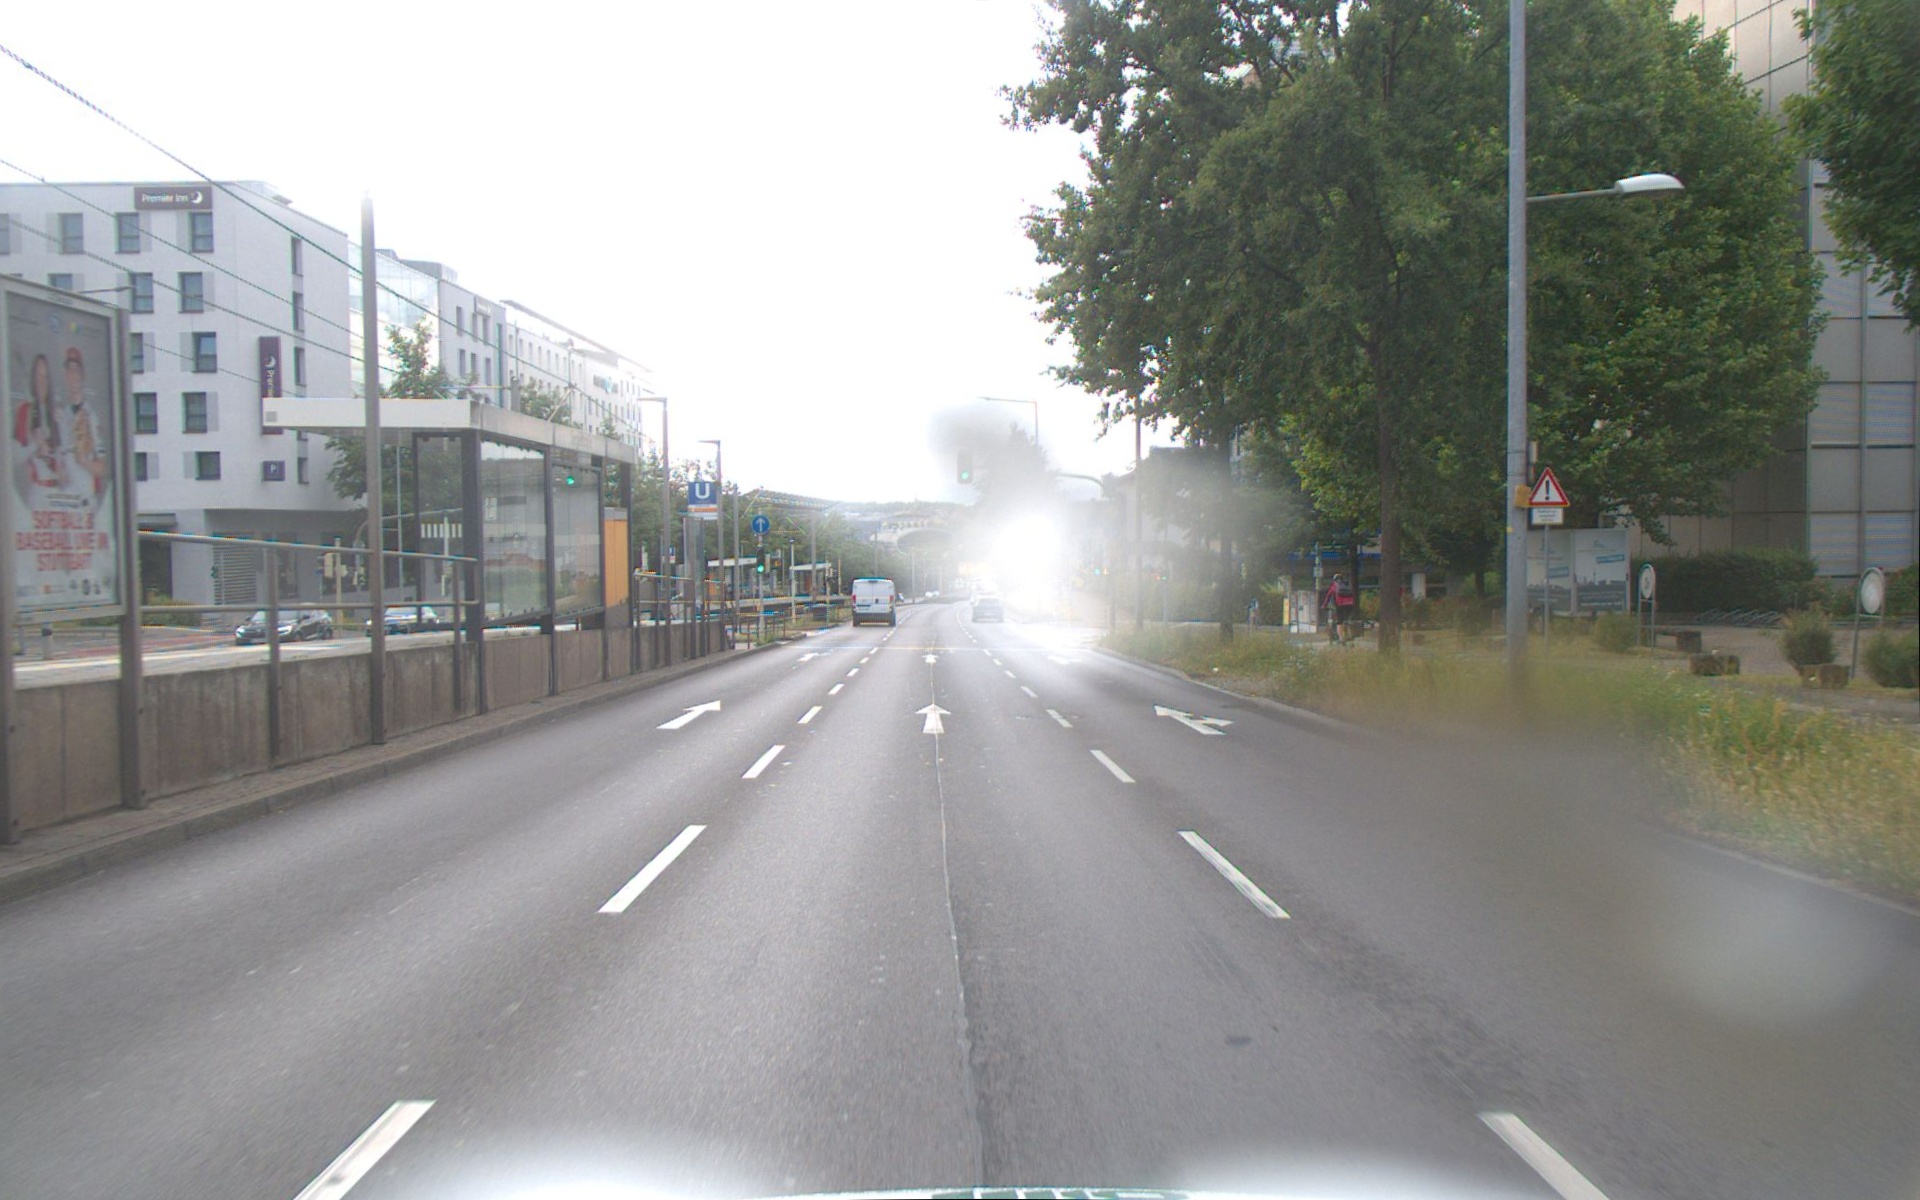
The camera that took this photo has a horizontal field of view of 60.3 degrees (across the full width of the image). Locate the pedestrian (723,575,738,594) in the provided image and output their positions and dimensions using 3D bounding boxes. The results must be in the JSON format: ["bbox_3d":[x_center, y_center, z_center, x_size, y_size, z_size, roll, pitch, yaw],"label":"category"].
[{"bbox_3d":[-16.112,-1.119,116.187,0.941,1.322,0.684,-1,0,0],"label":"pedestrian"}]

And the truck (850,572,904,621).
[{"bbox_3d":[-4.041,-0.167,81.669,2.312,2.301,5.305,1,0,0],"label":"truck"}]

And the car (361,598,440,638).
[{"bbox_3d":[-22.163,0.703,65.683,1.816,1.452,4.386,-2,0,-3],"label":"car"}]

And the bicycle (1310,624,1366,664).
[{"bbox_3d":[8.336,0.950,36.573,0.654,0.823,2.318,1,0,-1],"label":"bicycle"}]

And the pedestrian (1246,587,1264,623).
[{"bbox_3d":[13.779,0.233,77.275,0.544,1.681,0.830,0,0,-10],"label":"pedestrian"}]

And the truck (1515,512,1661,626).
[{"bbox_3d":[14.996,-0.699,39.716,1.712,2.562,3.996,1,0,-4],"label":"truck"}]

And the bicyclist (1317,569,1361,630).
[{"bbox_3d":[8.361,-0.005,36.524,0.642,1.310,1.219,2,0,-1],"label":"bicyclist"}]

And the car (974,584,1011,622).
[{"bbox_3d":[1.863,0.180,93.897,1.952,2.049,3.935,1,0,2],"label":"car"}]

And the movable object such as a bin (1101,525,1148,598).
[{"bbox_3d":[13.514,-3.085,136.653,3.222,5.784,8.766,1,0,2],"label":"movable object such as a bin"}]

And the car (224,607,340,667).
[{"bbox_3d":[-21.644,1.147,53.019,1.953,1.806,4.388,0,0,-1],"label":"car"}]

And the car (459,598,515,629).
[{"bbox_3d":[-22.721,0.637,79.557,1.693,1.448,3.778,0,0,-2],"label":"car"}]

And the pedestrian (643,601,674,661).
[{"bbox_3d":[-8.487,0.861,46.580,0.693,1.679,0.643,0,0,-30],"label":"pedestrian"}]
